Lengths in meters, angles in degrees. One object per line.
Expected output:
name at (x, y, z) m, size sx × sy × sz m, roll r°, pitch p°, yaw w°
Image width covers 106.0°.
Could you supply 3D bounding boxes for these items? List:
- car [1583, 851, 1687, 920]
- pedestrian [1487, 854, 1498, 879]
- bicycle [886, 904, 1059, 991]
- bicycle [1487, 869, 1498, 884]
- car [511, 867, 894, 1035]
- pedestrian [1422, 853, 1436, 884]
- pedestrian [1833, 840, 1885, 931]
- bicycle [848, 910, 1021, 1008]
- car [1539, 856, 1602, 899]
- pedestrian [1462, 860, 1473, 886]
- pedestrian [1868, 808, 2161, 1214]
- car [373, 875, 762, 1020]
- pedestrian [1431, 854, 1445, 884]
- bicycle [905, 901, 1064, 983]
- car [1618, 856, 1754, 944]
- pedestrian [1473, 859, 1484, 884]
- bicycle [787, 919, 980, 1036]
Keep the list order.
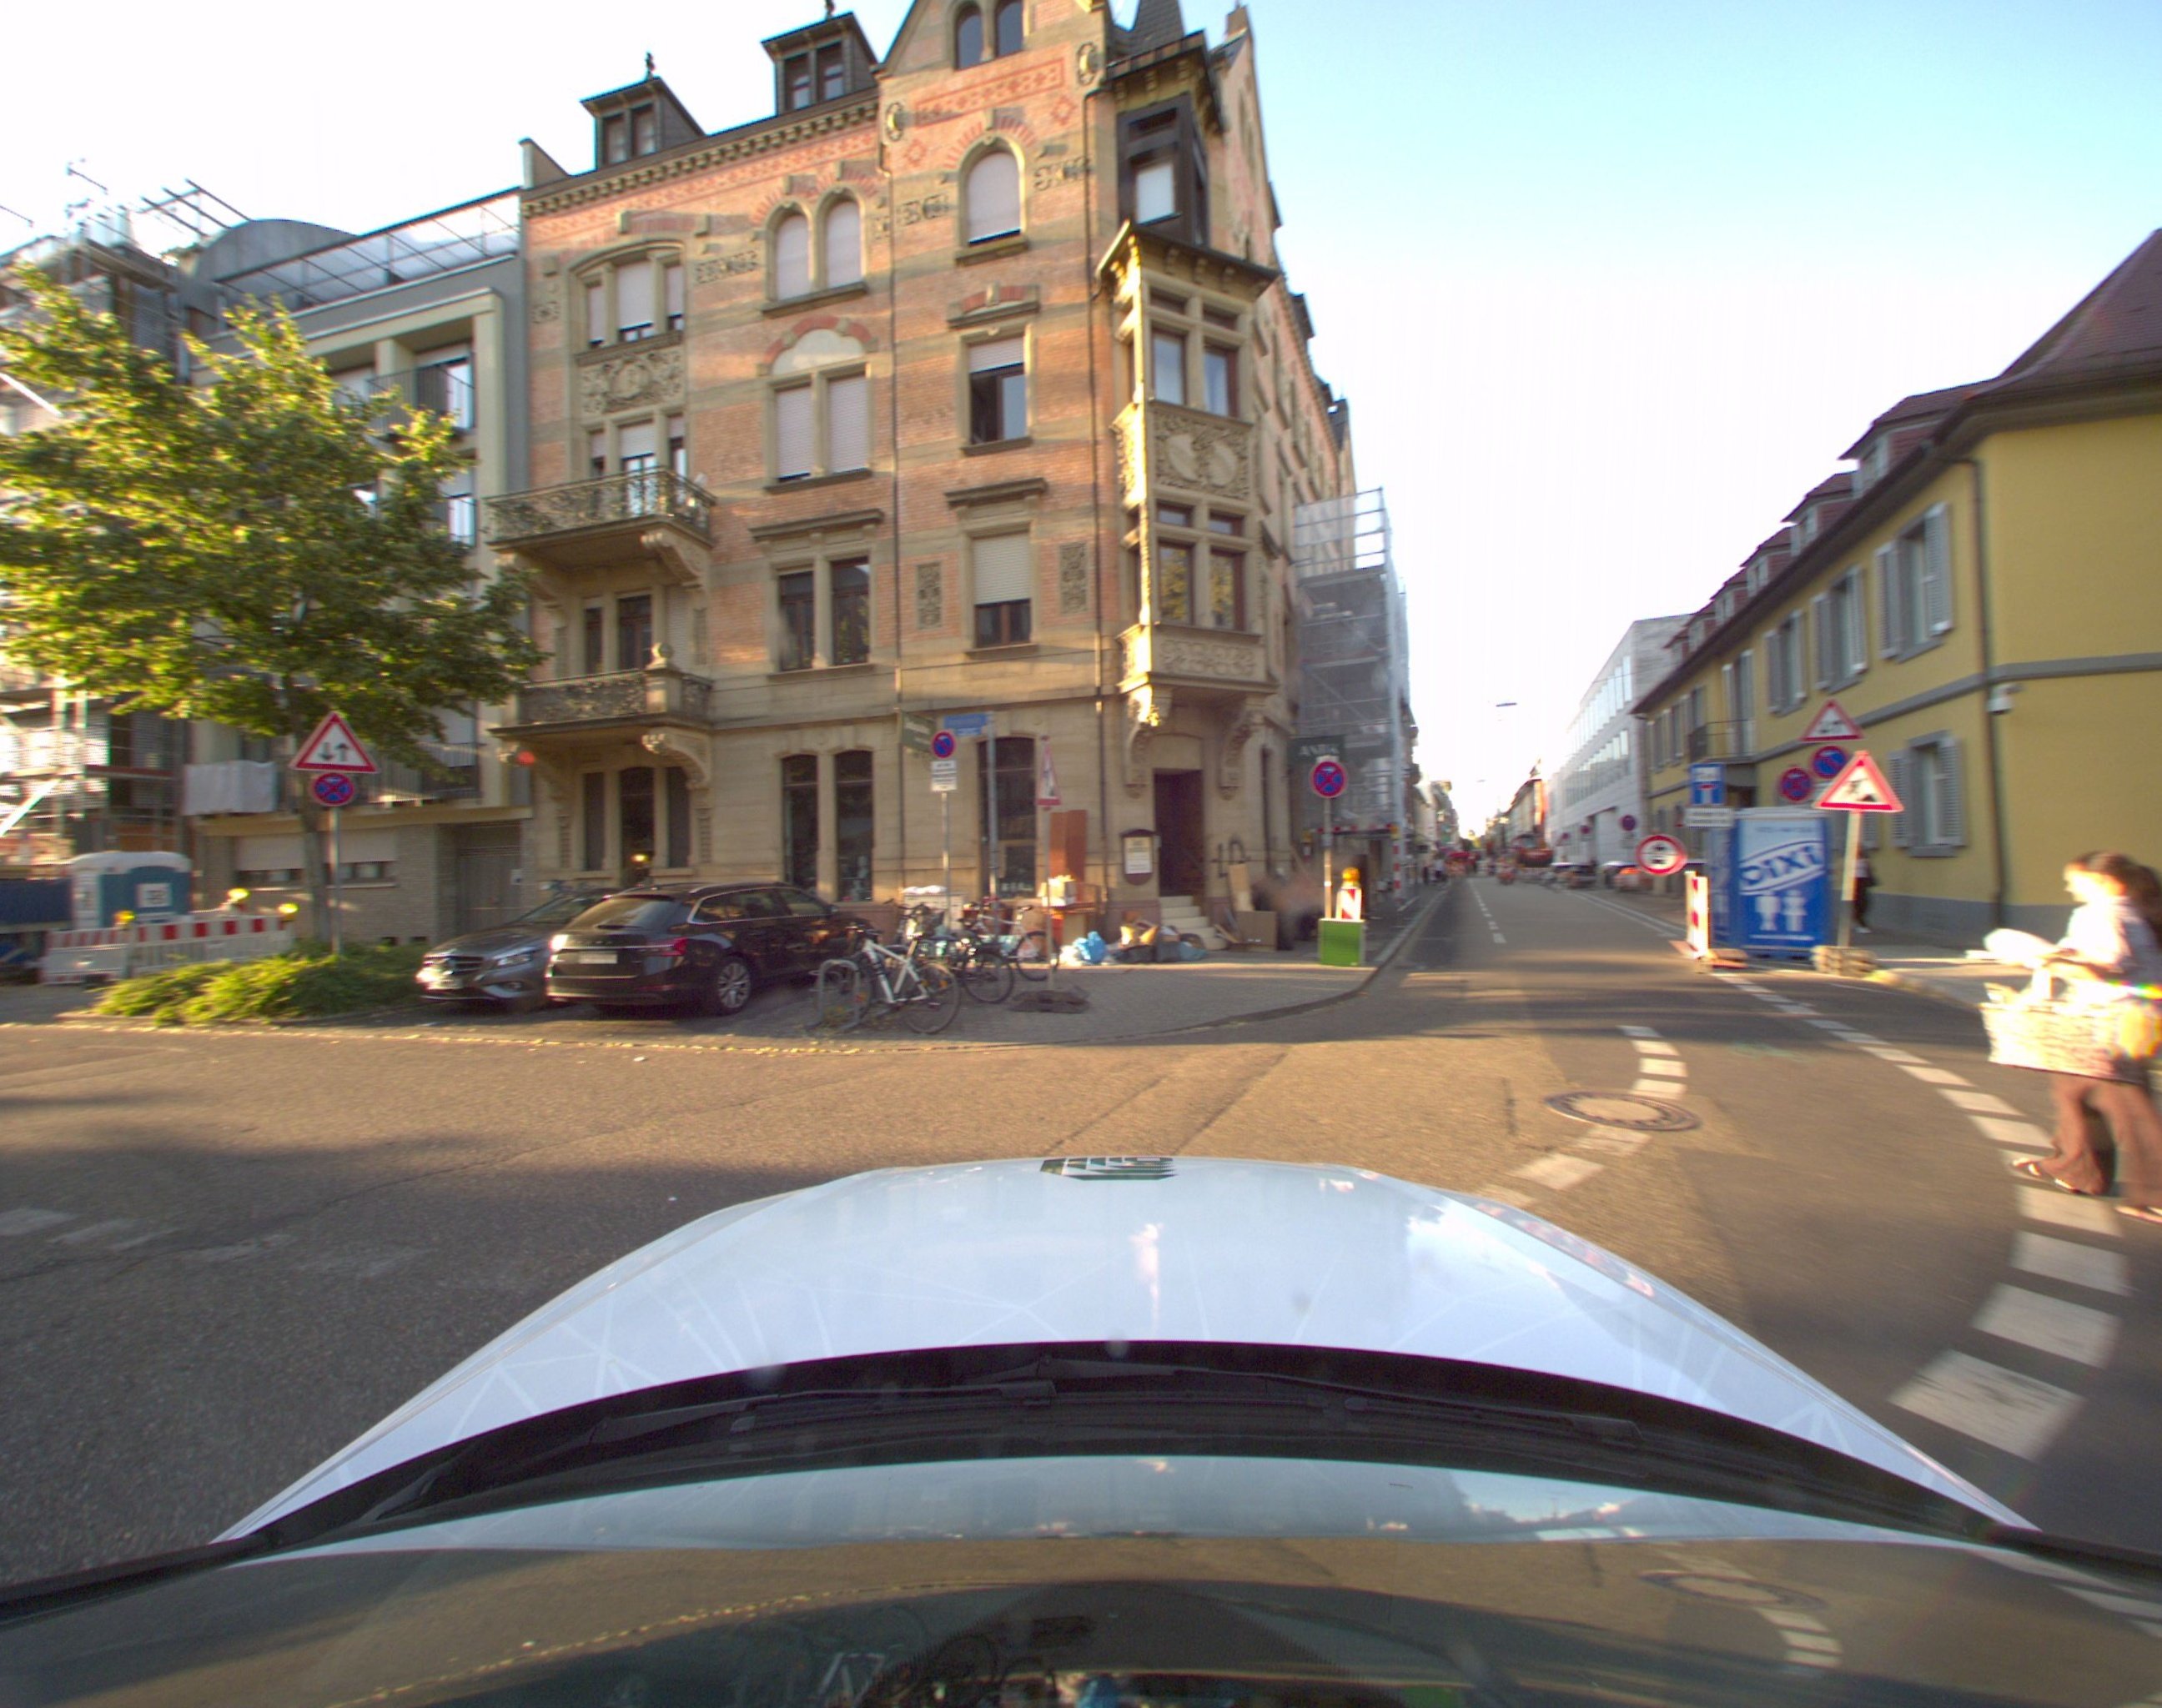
car at (13.706, 0.730, 20.359) m, size 1.526 × 1.520 × 4.002 m, roll -2°, pitch -1°, yaw 26°
pedestrian at (24.126, 0.747, 47.767) m, size 0.500 × 1.461 × 0.515 m, roll -2°, pitch -1°, yaw 28°
bicycle at (-1.396, 1.194, 10.496) m, size 2.088 × 1.014 × 0.642 m, roll -2°, pitch -1°, yaw 14°
bicycle at (24.155, 1.313, 47.796) m, size 0.500 × 0.884 × 1.485 m, roll -2°, pitch -1°, yaw 25°
car at (-4.410, 1.029, 10.480) m, size 1.891 × 1.511 × 4.560 m, roll -2°, pitch 0°, yaw 16°
pedestrian at (20.061, 0.840, 46.994) m, size 0.670 × 1.733 × 0.703 m, roll -2°, pitch -2°, yaw 22°
pedestrian at (14.081, 0.559, 14.754) m, size 0.463 × 1.595 × 0.677 m, roll -3°, pitch -1°, yaw 28°
bicycle at (-1.672, 1.184, 9.318) m, size 1.813 × 1.014 × 0.642 m, roll -2°, pitch -1°, yaw 14°
car at (18.573, 0.866, 30.992) m, size 1.702 × 1.520 × 3.240 m, roll -2°, pitch -1°, yaw 26°
pedestrian at (22.028, 1.066, 46.403) m, size 0.500 × 1.461 × 0.515 m, roll -2°, pitch -1°, yaw 26°
pedestrian at (4.508, 0.648, 3.821) m, size 0.641 × 1.659 × 0.951 m, roll -1°, pitch -1°, yaw -26°
car at (-6.843, 1.144, 11.584) m, size 1.847 × 1.479 × 4.560 m, roll -2°, pitch 0°, yaw 16°
pedestrian at (21.343, 0.913, 48.696) m, size 0.505 × 1.764 × 0.510 m, roll -1°, pitch -1°, yaw -16°
bicycle at (-1.325, 1.201, 11.155) m, size 2.088 × 1.040 × 0.467 m, roll -2°, pitch -1°, yaw 14°
car at (11.647, 0.813, 15.868) m, size 1.526 × 1.520 × 3.240 m, roll -1°, pitch -1°, yaw 26°
pedestrian at (23.483, 1.029, 48.132) m, size 0.499 × 1.461 × 0.516 m, roll -3°, pitch -1°, yaw 31°
bicycle at (-1.981, 1.208, 8.156) m, size 1.811 × 1.047 × 0.574 m, roll -2°, pitch -1°, yaw 18°
